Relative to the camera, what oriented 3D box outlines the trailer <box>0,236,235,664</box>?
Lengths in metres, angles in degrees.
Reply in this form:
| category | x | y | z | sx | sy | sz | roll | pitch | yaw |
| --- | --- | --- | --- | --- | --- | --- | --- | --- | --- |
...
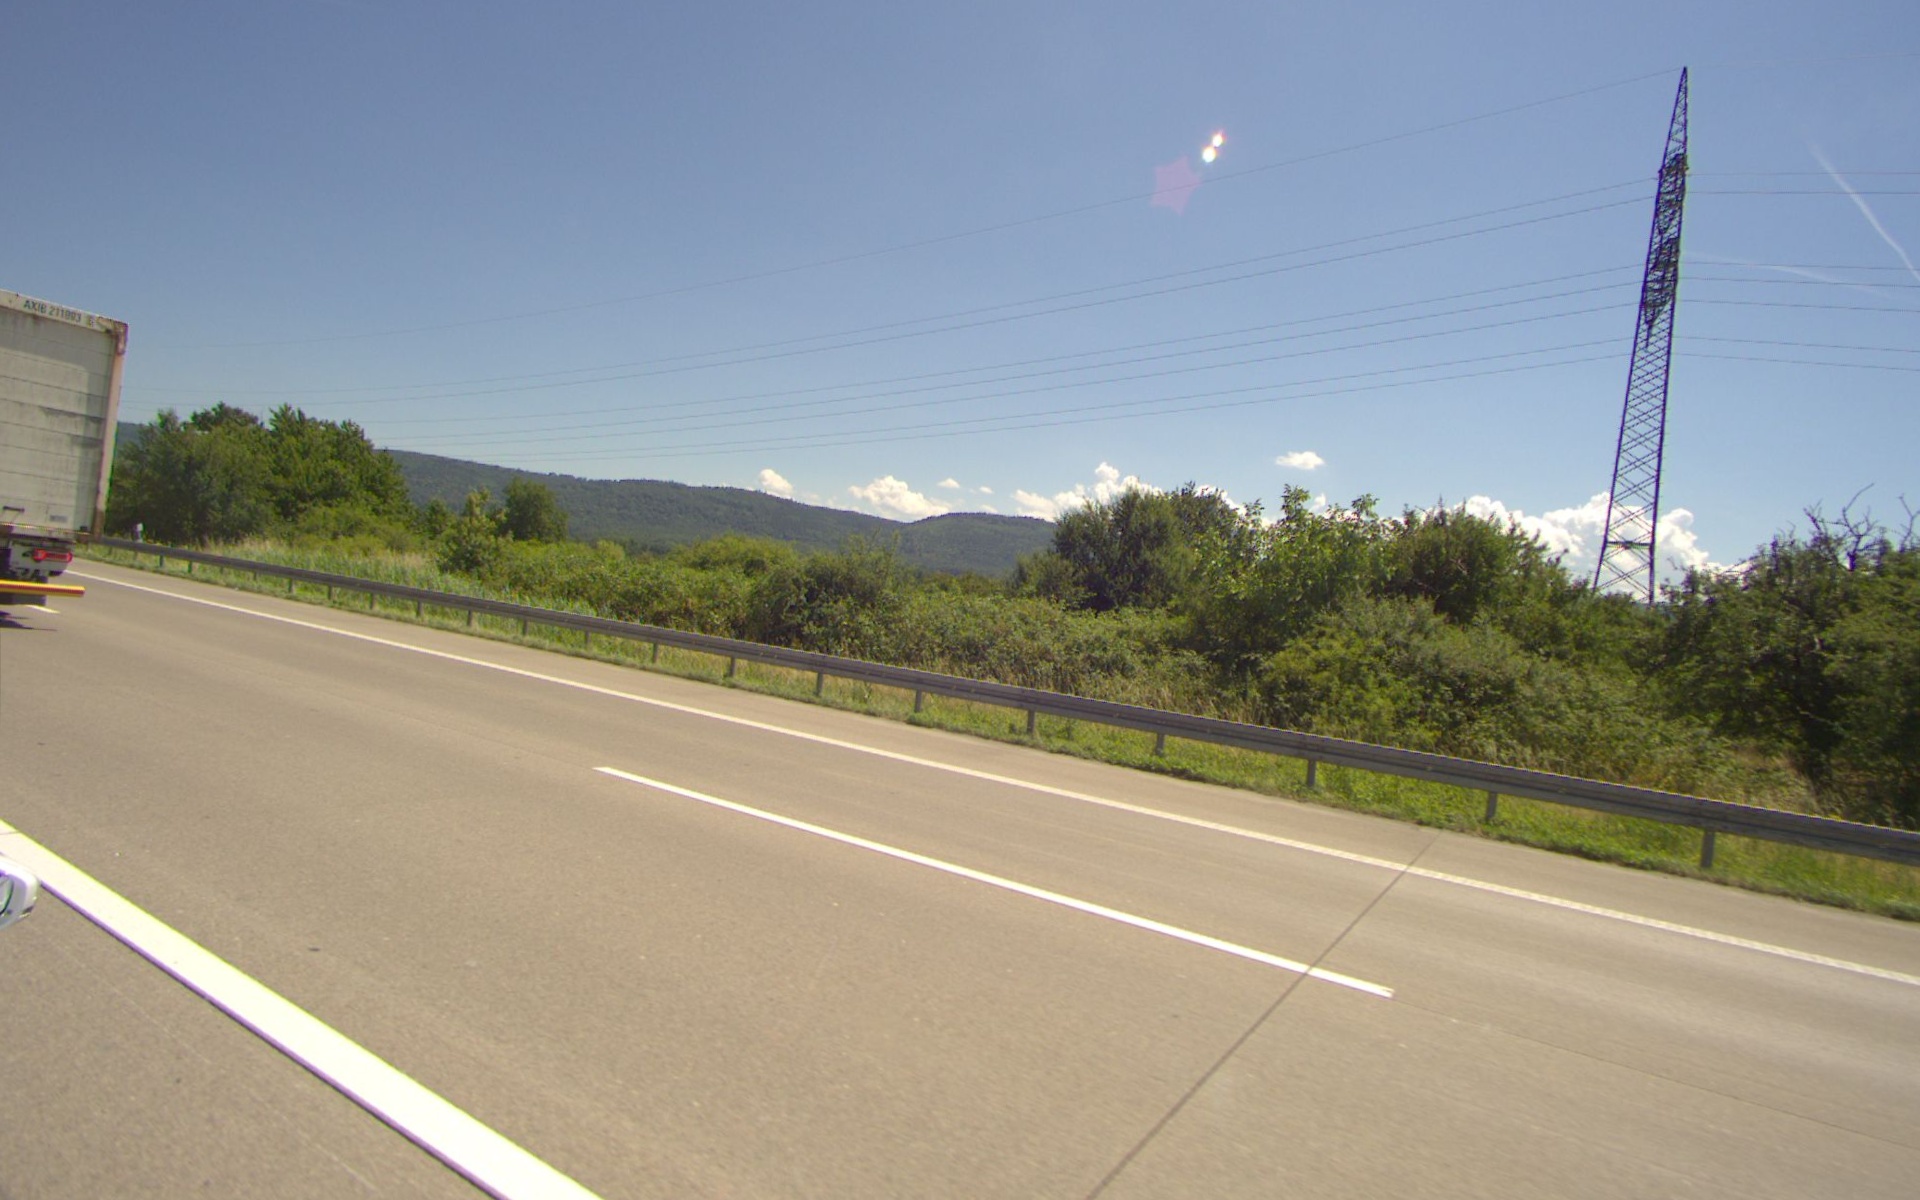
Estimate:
| category | x | y | z | sx | sy | sz | roll | pitch | yaw |
| --- | --- | --- | --- | --- | --- | --- | --- | --- | --- |
| trailer | -13.168 | -1.869 | 12.543 | 10.200 | 3.923 | 2.586 | 7 | -1 | 31 |
